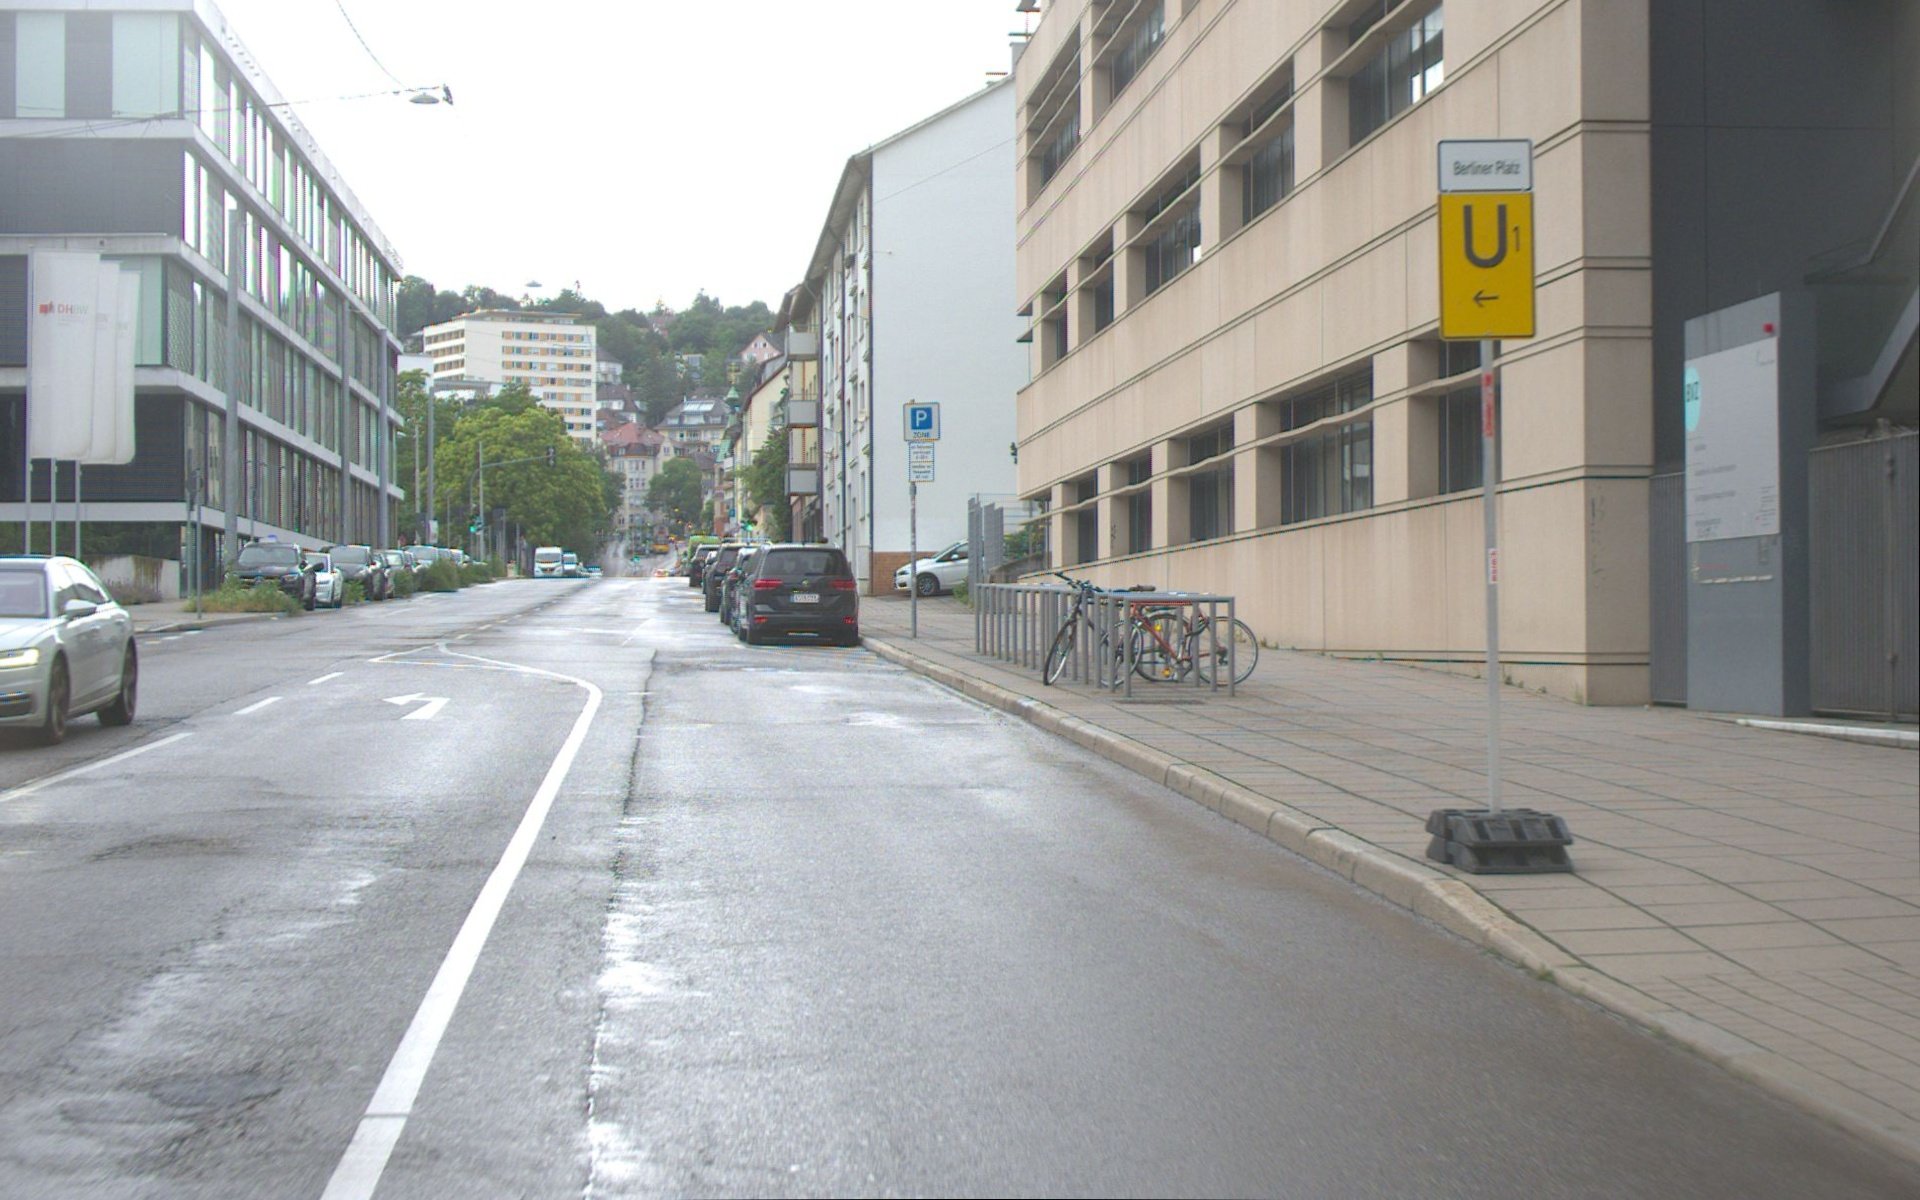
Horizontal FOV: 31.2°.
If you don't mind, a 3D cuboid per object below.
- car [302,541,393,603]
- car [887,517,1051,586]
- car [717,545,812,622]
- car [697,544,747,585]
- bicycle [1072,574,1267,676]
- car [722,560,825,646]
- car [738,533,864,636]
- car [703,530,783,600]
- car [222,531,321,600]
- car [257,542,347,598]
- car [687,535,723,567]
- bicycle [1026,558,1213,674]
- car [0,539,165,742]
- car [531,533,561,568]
[{"bbox_3d":[-17.813,-0.827,100.120,1.962,1.744,4.942,1,1,-3],"label":"car"},{"bbox_3d":[0.230,-1.380,98.060,4.437,1.707,1.905,-3,1,-5],"label":"car"},{"bbox_3d":[-4.115,-0.358,71.836,1.743,1.528,4.320,1,1,-6],"label":"car"},{"bbox_3d":[-8.537,-1.276,123.094,1.706,1.449,3.985,1,1,-5],"label":"car"},{"bbox_3d":[1.995,0.231,32.788,1.758,0.950,0.660,0,0,-8],"label":"bicycle"},{"bbox_3d":[-3.539,0.051,64.587,1.725,1.507,4.058,2,0,-5],"label":"car"},{"bbox_3d":[-2.641,-0.271,56.322,1.770,1.598,4.395,1,1,-6],"label":"car"},{"bbox_3d":[-5.638,-0.912,89.000,1.935,1.744,4.797,1,1,-5],"label":"car"},{"bbox_3d":[-16.651,-0.844,83.309,1.849,1.612,4.491,1,1,-5],"label":"car"},{"bbox_3d":[-17.194,-0.797,89.991,1.820,1.414,4.403,1,1,-5],"label":"car"},{"bbox_3d":[-14.463,-2.766,195.176,1.866,1.764,4.190,1,0,-2],"label":"car"},{"bbox_3d":[1.559,0.150,33.735,1.729,1.115,0.660,0,0,-10],"label":"bicycle"},{"bbox_3d":[-8.049,0.294,28.445,1.881,1.485,5.220,-2,1,-2],"label":"car"},{"bbox_3d":[-30.059,-3.588,249.756,2.104,2.538,4.752,1,0,-7],"label":"car"}]
